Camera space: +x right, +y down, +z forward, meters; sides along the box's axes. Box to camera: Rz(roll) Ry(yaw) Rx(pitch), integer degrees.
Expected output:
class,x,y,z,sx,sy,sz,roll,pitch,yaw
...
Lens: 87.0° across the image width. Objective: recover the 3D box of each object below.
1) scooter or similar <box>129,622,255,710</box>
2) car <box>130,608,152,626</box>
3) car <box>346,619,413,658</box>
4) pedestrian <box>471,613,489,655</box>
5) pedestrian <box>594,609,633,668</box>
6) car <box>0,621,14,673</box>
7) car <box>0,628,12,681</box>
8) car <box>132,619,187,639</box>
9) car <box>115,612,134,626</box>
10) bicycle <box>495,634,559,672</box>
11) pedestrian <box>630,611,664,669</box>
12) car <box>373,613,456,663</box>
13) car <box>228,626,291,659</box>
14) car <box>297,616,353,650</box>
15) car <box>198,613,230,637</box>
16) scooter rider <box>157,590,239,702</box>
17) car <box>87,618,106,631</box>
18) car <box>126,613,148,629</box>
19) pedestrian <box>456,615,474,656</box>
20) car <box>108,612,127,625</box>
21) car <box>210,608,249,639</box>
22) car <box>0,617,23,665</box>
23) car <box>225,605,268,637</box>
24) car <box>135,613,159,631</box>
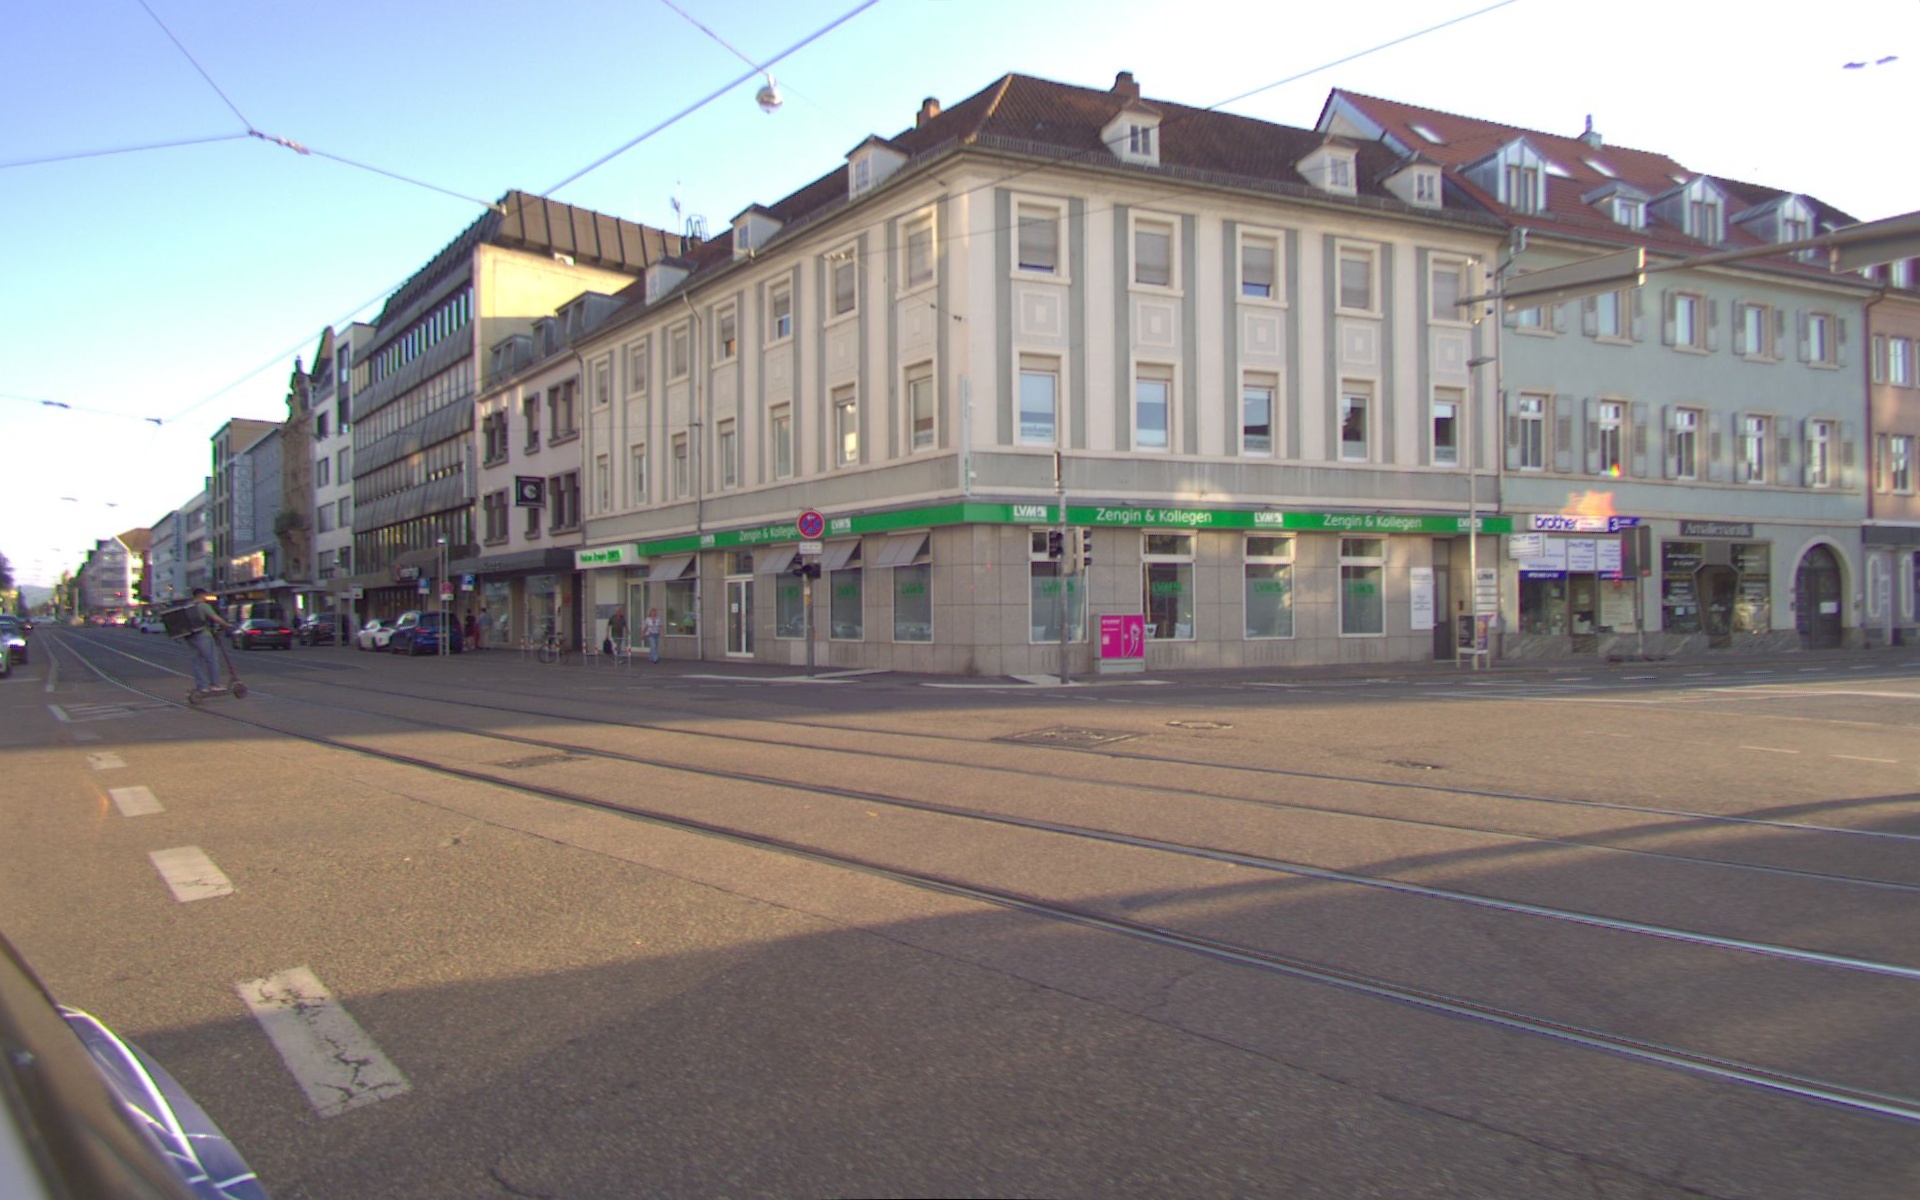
class,x,y,z,sx,sy,sz,roll,pitch,yaw
scooter or similar,-12.743,1.065,16.854,0.542,1.361,1.658,-1,-1,20
car,-104.744,2.183,129.429,1.947,2.209,4.138,0,1,-43
car,-25.723,1.683,44.812,1.677,1.635,4.004,-1,-1,-43
pedestrian,-20.451,1.455,43.125,0.508,1.747,0.601,0,1,-43
pedestrian,-10.476,1.159,30.626,0.815,1.741,0.814,-2,0,-43
car,-31.867,1.492,32.475,1.968,1.490,4.007,0,1,-40
car,-26.431,1.452,26.632,1.886,1.369,3.752,-2,0,-40
car,-75.764,2.701,95.772,3.783,1.761,1.807,1,0,0
car,-132.057,2.969,159.951,1.971,2.029,4.002,0,1,-45
bicycle,-13.190,1.609,30.839,1.714,1.067,0.500,0,-3,-34
pedestrian,-9.201,1.158,29.739,0.813,1.653,0.816,-1,-1,-27
car,-21.763,1.463,40.335,1.887,1.809,4.133,-2,1,-43
car,-32.998,1.980,47.638,1.867,1.491,4.548,2,-3,-42
car,-33.607,1.713,53.521,1.793,1.569,4.005,0,1,-42
car,-65.292,2.177,88.537,1.807,1.931,4.004,0,1,-43
scooter rider,-12.718,0.745,16.902,0.808,1.821,0.783,0,0,21
car,-139.531,3.953,163.545,1.971,2.029,4.002,0,1,-45
car,-109.704,2.748,134.862,1.933,2.029,4.002,0,1,-45
pedestrian,-20.855,1.482,42.620,0.502,1.697,0.584,-1,1,-44
car,-136.290,2.966,163.728,1.971,2.029,4.002,0,1,-45
car,-53.878,1.695,74.614,1.969,2.074,4.005,0,1,-42
car,-34.998,1.471,36.268,1.969,1.652,4.005,0,-1,-42
car,-49.197,1.410,69.755,1.969,2.029,4.005,0,1,-42
car,-100.433,2.711,124.978,1.946,2.029,4.002,0,1,-45
